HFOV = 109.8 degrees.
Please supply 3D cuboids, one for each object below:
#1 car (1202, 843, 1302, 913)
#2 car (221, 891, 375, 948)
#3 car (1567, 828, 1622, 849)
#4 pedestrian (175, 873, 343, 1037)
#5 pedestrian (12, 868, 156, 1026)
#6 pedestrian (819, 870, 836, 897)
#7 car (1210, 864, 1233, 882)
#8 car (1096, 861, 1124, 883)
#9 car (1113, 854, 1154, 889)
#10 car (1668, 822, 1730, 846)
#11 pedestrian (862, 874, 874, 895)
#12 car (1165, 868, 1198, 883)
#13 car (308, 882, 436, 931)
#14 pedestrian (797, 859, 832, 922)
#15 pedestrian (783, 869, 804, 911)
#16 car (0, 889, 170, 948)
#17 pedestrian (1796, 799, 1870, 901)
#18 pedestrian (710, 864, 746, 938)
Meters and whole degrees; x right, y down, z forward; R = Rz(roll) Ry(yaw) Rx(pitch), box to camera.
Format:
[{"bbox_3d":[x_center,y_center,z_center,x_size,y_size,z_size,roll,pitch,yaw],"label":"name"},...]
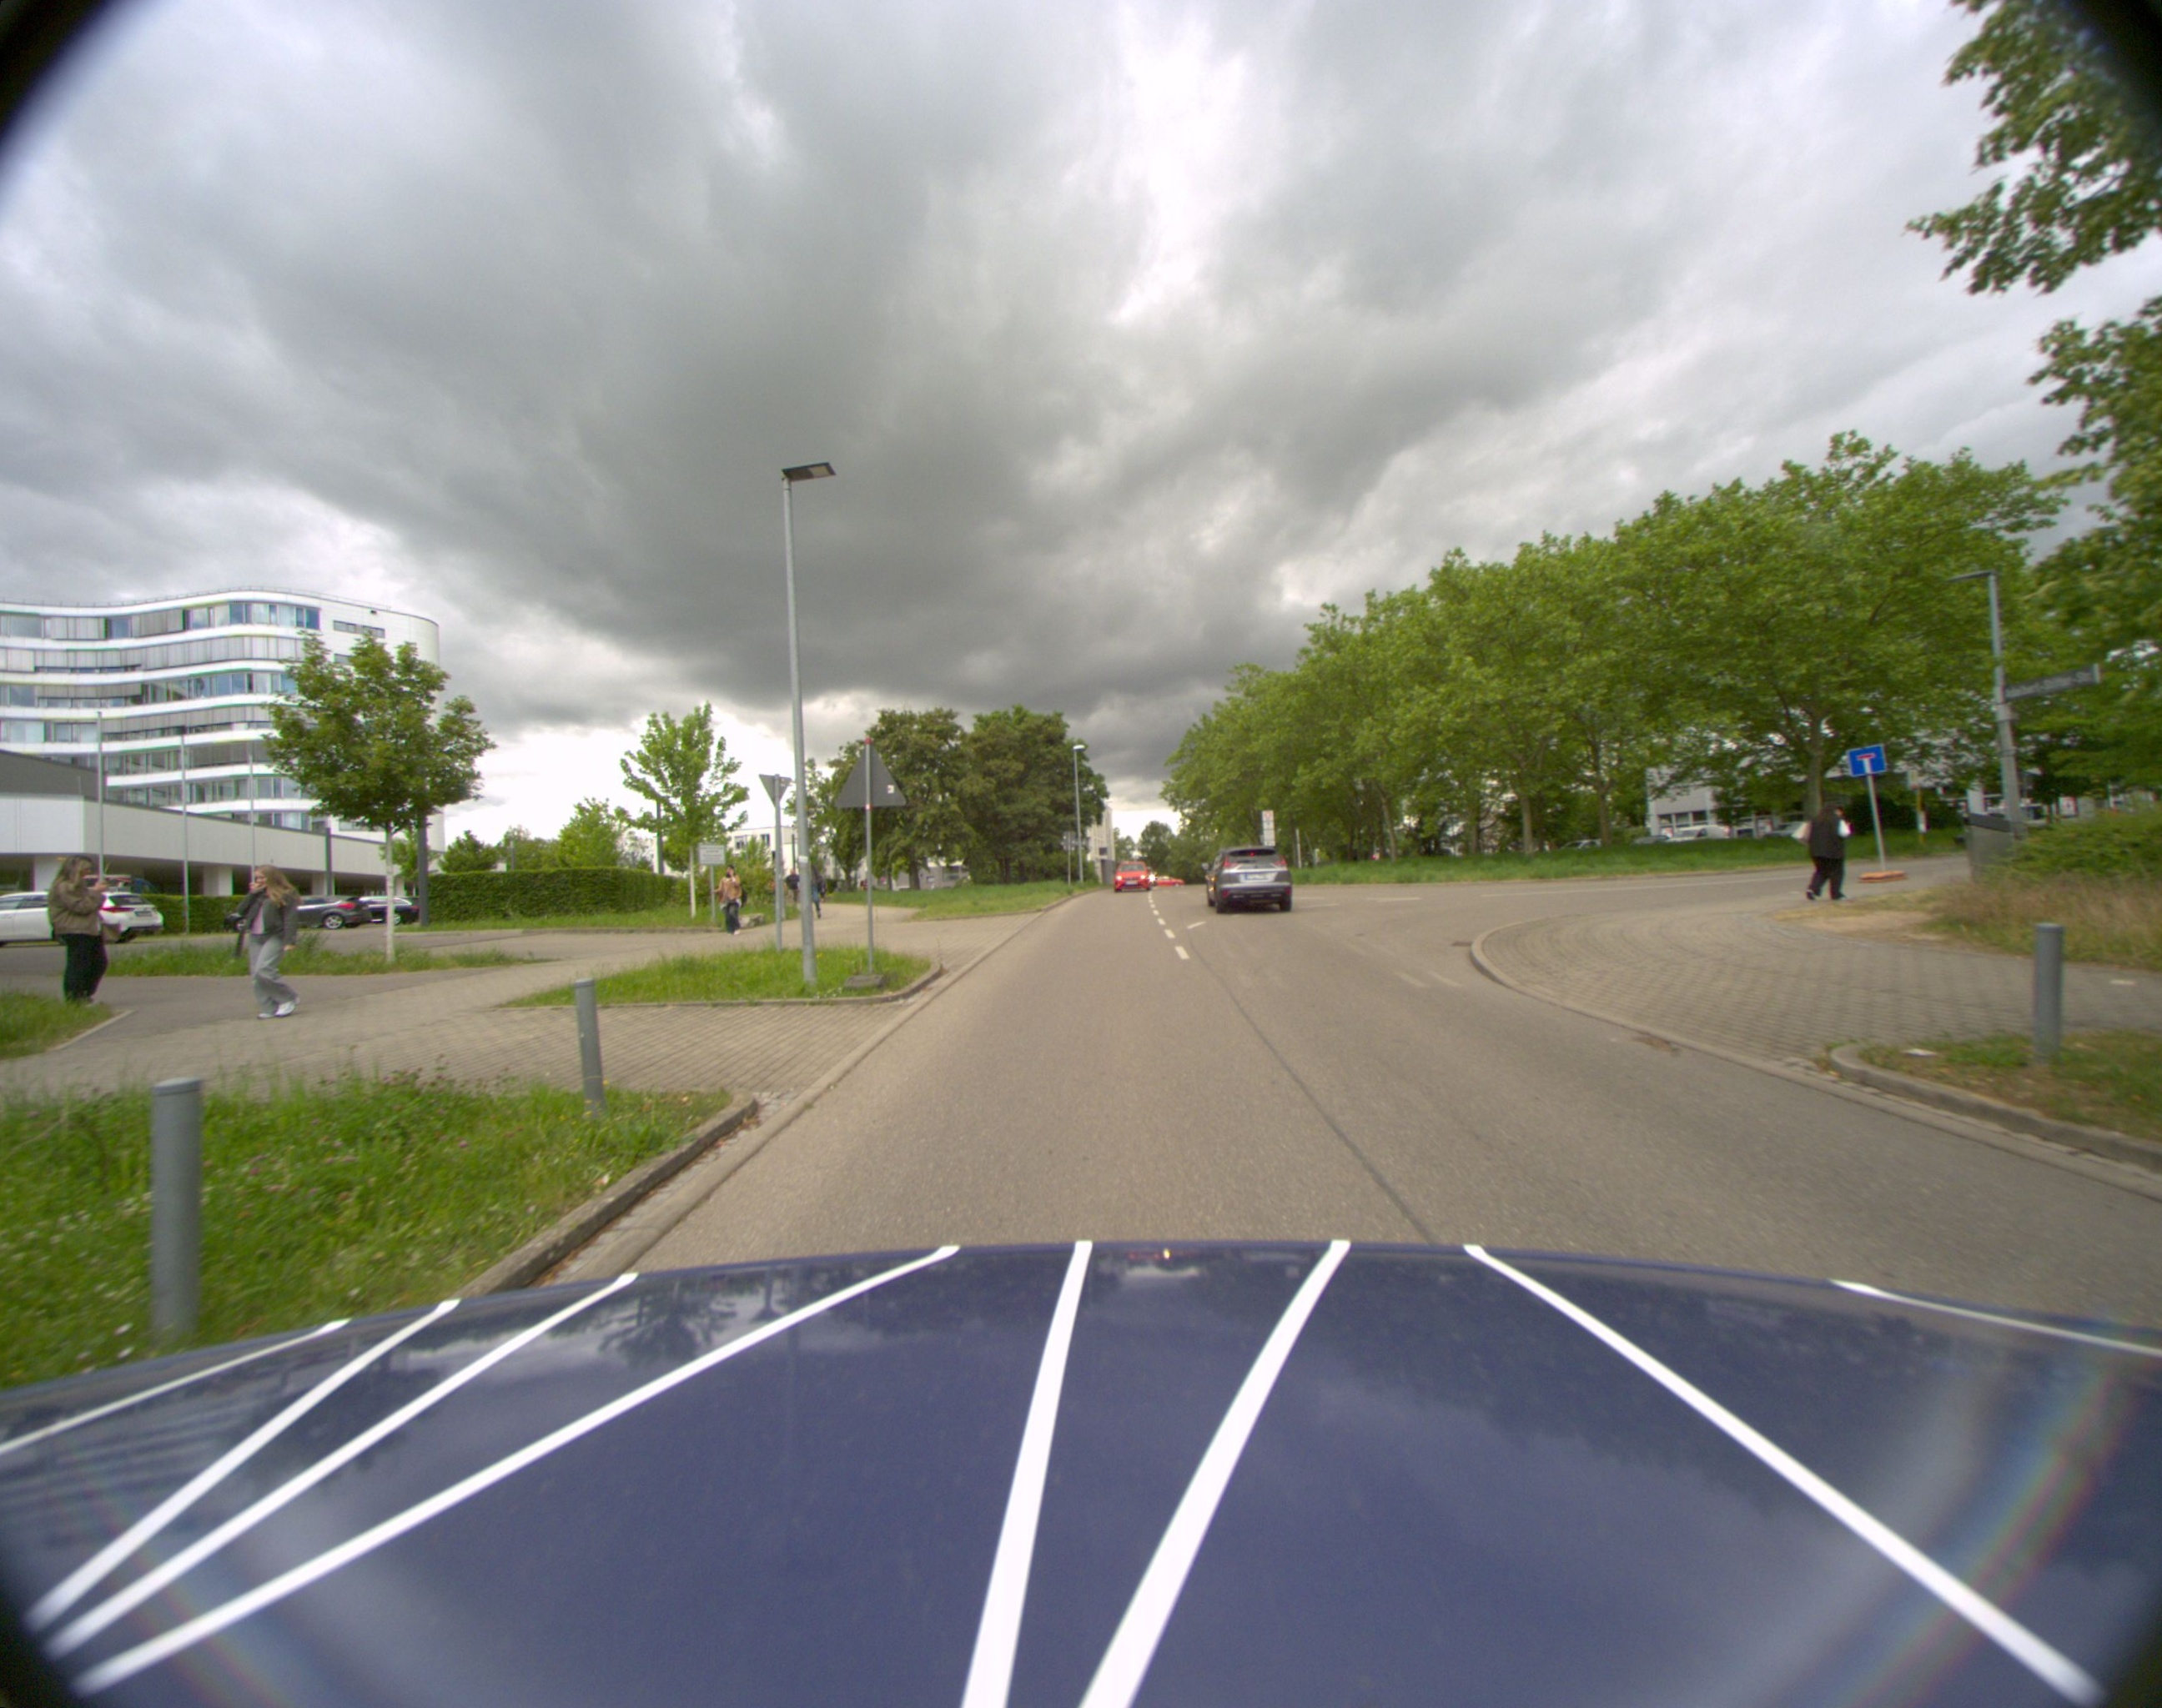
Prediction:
[{"bbox_3d":[4.274,0.585,19.654,1.900,1.573,4.169,-1,-1,4],"label":"car"},{"bbox_3d":[-33.023,2.714,32.199,4.004,2.002,1.996,-3,0,-24],"label":"car"},{"bbox_3d":[40.654,-1.206,60.138,4.004,1.455,1.651,-3,0,-23],"label":"car"},{"bbox_3d":[-8.725,1.032,8.108,0.688,1.611,0.933,-3,0,11],"label":"pedestrian"},{"bbox_3d":[-11.335,1.031,8.663,0.655,1.701,0.706,-3,0,8],"label":"pedestrian"},{"bbox_3d":[-15.552,1.815,46.538,0.675,1.597,0.668,-3,0,10],"label":"pedestrian"},{"bbox_3d":[12.826,1.715,69.557,1.758,1.506,4.002,-3,0,6],"label":"car"},{"bbox_3d":[2.199,1.333,57.047,1.758,1.506,4.002,-3,0,6],"label":"car"},{"bbox_3d":[2.623,0.891,37.323,1.758,1.506,4.004,-3,-3,6],"label":"car"},{"bbox_3d":[43.302,-1.399,53.200,4.004,1.455,1.651,-3,0,-23],"label":"car"},{"bbox_3d":[-14.740,2.075,52.640,0.676,1.406,0.666,-3,0,-19],"label":"pedestrian"},{"bbox_3d":[11.575,2.459,87.598,3.653,1.521,1.629,-3,0,5],"label":"car"},{"bbox_3d":[-34.344,2.495,36.938,4.003,2.002,1.997,-3,0,-20],"label":"car"},{"bbox_3d":[-7.589,1.029,21.619,0.764,1.712,0.885,-3,0,-27],"label":"pedestrian"},{"bbox_3d":[-11.575,1.425,30.566,0.639,1.634,0.603,-3,0,-27],"label":"pedestrian"},{"bbox_3d":[-28.285,1.775,20.693,4.122,1.382,1.707,-3,0,-19],"label":"car"},{"bbox_3d":[12.352,-0.055,12.510,0.718,1.601,0.635,-5,-3,40],"label":"pedestrian"},{"bbox_3d":[-8.252,1.075,17.798,0.653,1.659,0.896,-3,0,-24],"label":"pedestrian"}]
